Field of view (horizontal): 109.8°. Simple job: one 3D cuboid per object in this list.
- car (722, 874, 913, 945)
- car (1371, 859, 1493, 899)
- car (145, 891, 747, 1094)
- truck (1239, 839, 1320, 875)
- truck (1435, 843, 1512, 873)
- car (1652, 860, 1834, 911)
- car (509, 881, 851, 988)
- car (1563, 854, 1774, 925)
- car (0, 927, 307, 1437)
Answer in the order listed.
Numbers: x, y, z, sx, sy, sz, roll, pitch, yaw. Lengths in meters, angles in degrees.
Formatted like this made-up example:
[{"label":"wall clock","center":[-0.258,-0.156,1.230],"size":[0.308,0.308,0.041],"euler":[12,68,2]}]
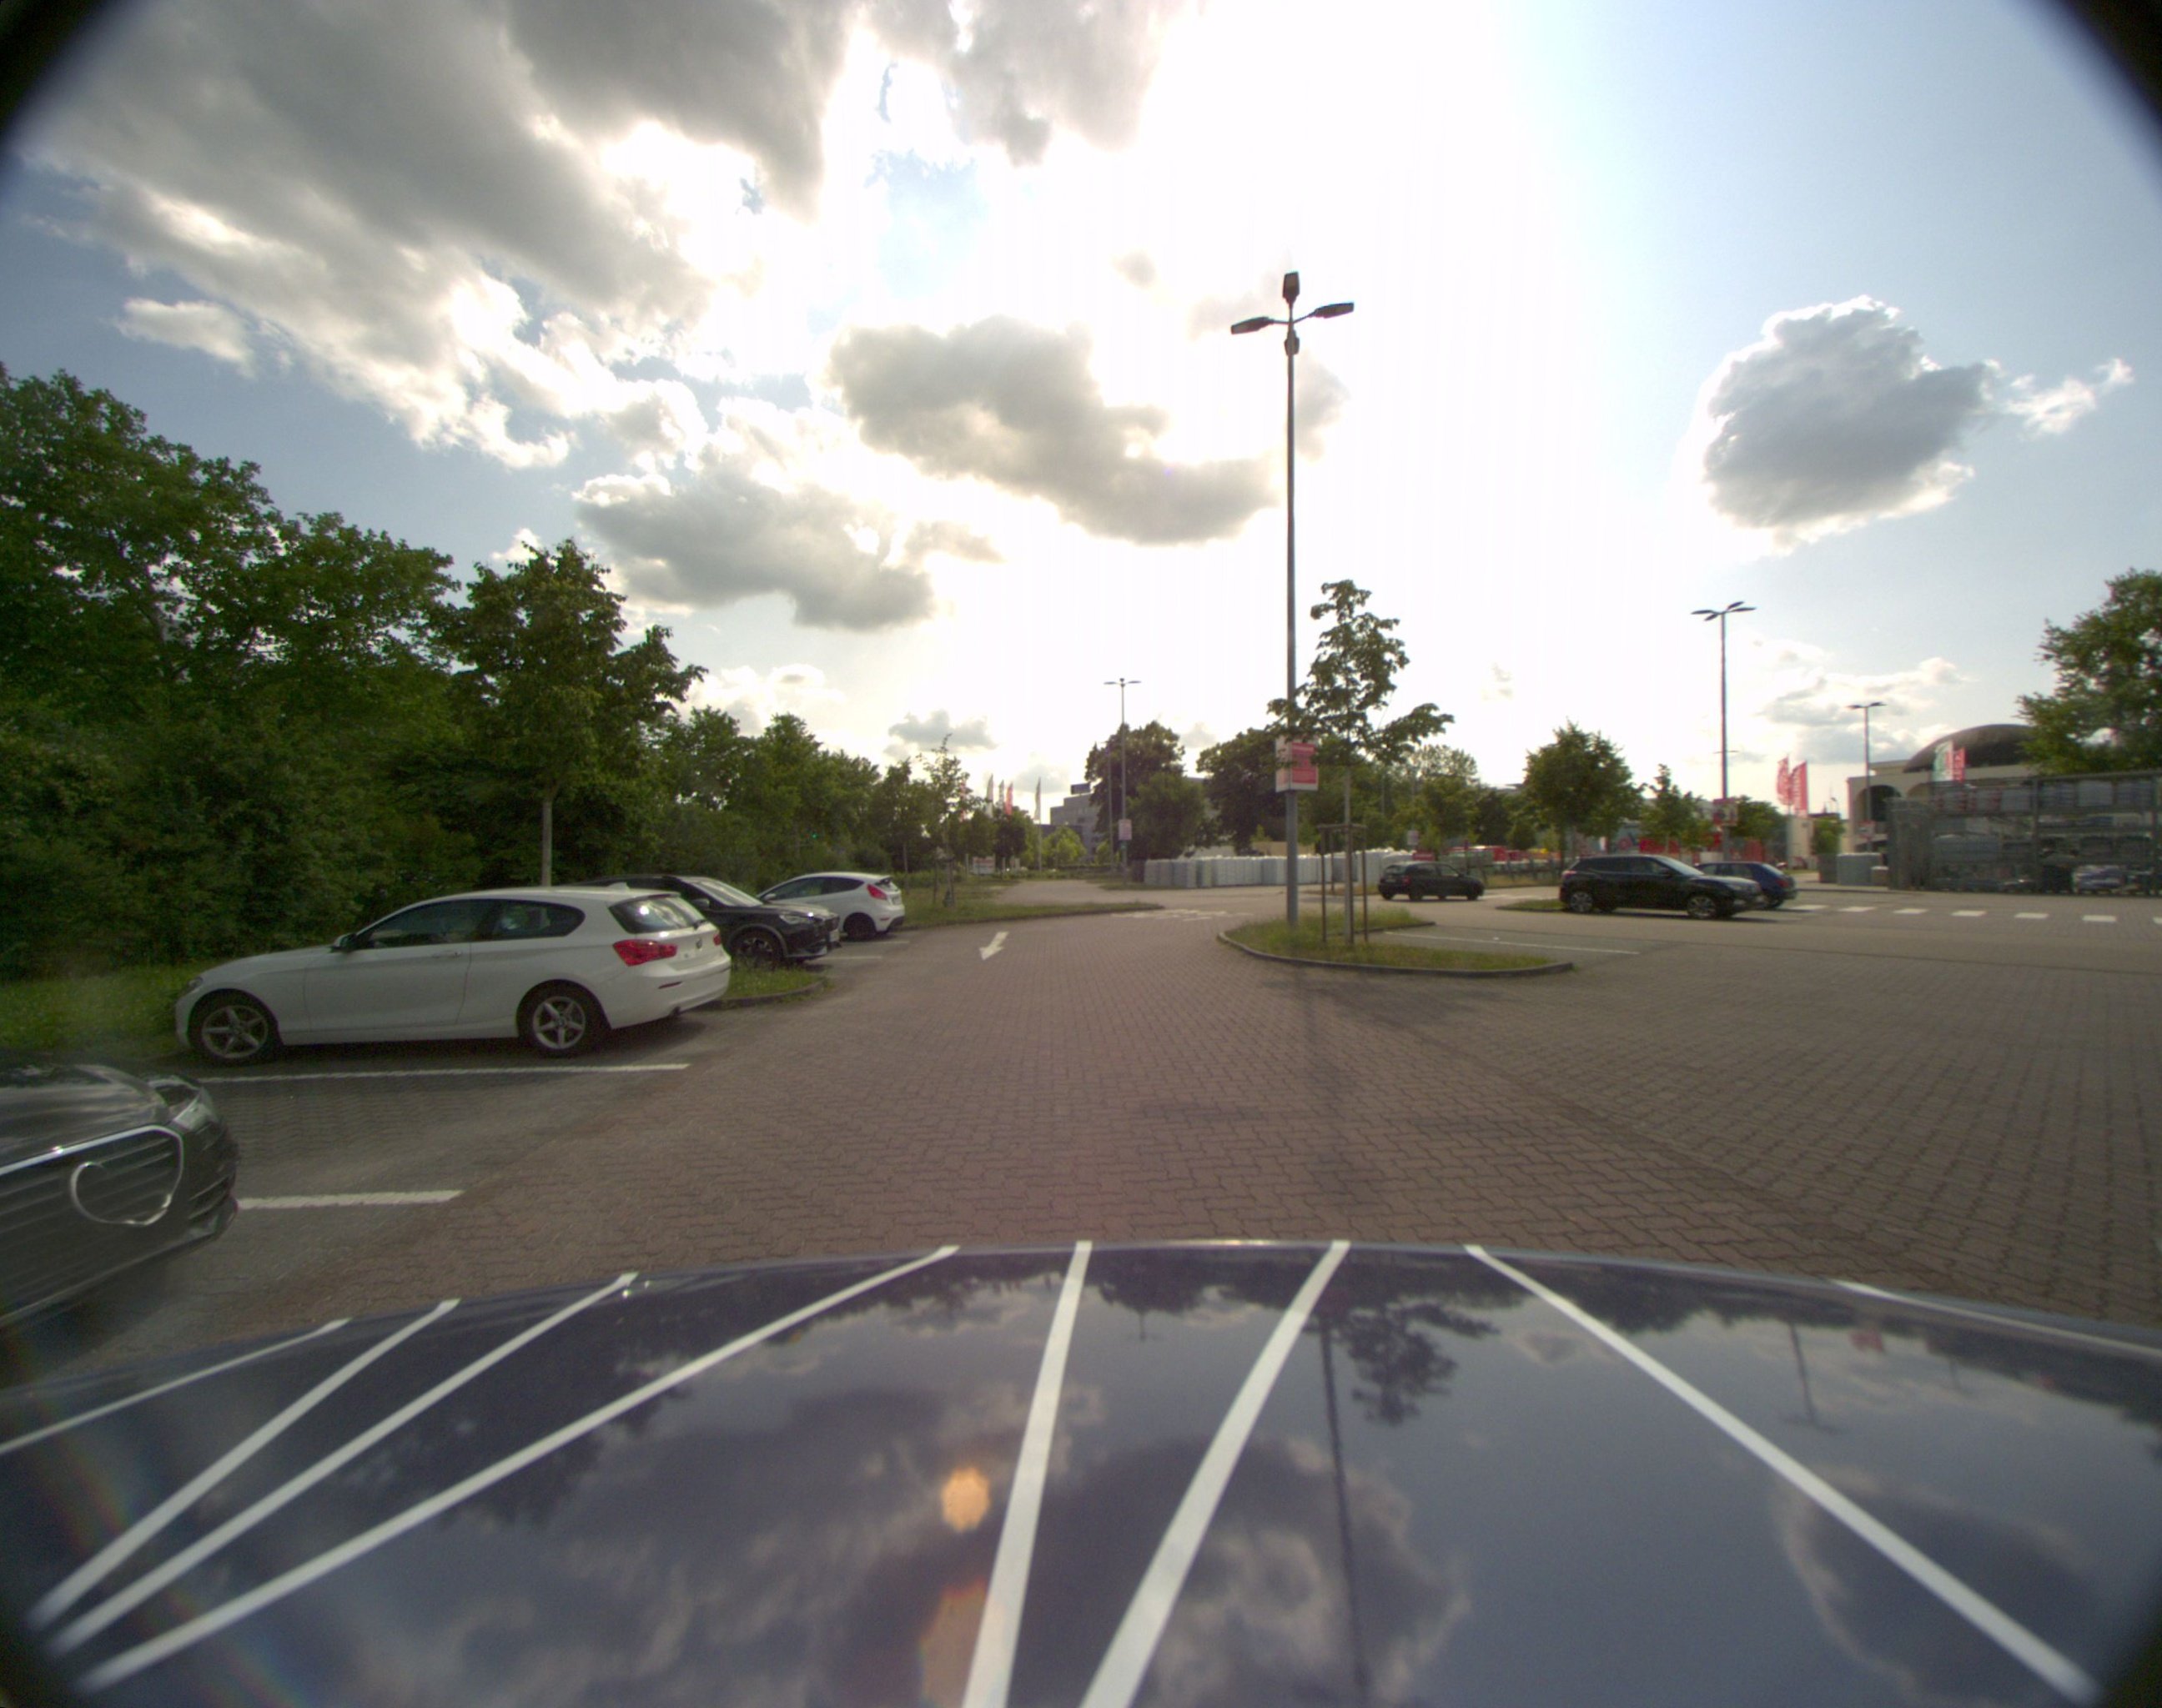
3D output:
[{"label":"car","center":[-5.664,1.176,16.593],"size":[3.554,1.403,1.670],"euler":[-1,0,3]},{"label":"car","center":[12.485,0.856,27.052],"size":[3.789,1.313,1.610],"euler":[-1,0,-16]},{"label":"car","center":[-5.514,1.168,7.023],"size":[4.079,1.501,1.690],"euler":[-1,1,-1]},{"label":"truck","center":[20.353,0.316,77.547],"size":[9.053,3.577,2.723],"euler":[0,0,-35]},{"label":"truck","center":[33.199,0.345,64.437],"size":[2.121,2.500,5.430],"euler":[0,0,-39]},{"label":"car","center":[19.276,0.864,22.254],"size":[1.624,1.359,3.753],"euler":[0,-1,-36]},{"label":"car","center":[-5.883,1.159,11.557],"size":[4.240,1.402,1.733],"euler":[-1,0,-2]},{"label":"car","center":[14.938,0.828,19.522],"size":[1.739,1.615,3.953],"euler":[-1,0,-35]},{"label":"car","center":[-5.593,1.045,2.165],"size":[4.722,1.442,1.839],"euler":[-1,0,-3]}]
